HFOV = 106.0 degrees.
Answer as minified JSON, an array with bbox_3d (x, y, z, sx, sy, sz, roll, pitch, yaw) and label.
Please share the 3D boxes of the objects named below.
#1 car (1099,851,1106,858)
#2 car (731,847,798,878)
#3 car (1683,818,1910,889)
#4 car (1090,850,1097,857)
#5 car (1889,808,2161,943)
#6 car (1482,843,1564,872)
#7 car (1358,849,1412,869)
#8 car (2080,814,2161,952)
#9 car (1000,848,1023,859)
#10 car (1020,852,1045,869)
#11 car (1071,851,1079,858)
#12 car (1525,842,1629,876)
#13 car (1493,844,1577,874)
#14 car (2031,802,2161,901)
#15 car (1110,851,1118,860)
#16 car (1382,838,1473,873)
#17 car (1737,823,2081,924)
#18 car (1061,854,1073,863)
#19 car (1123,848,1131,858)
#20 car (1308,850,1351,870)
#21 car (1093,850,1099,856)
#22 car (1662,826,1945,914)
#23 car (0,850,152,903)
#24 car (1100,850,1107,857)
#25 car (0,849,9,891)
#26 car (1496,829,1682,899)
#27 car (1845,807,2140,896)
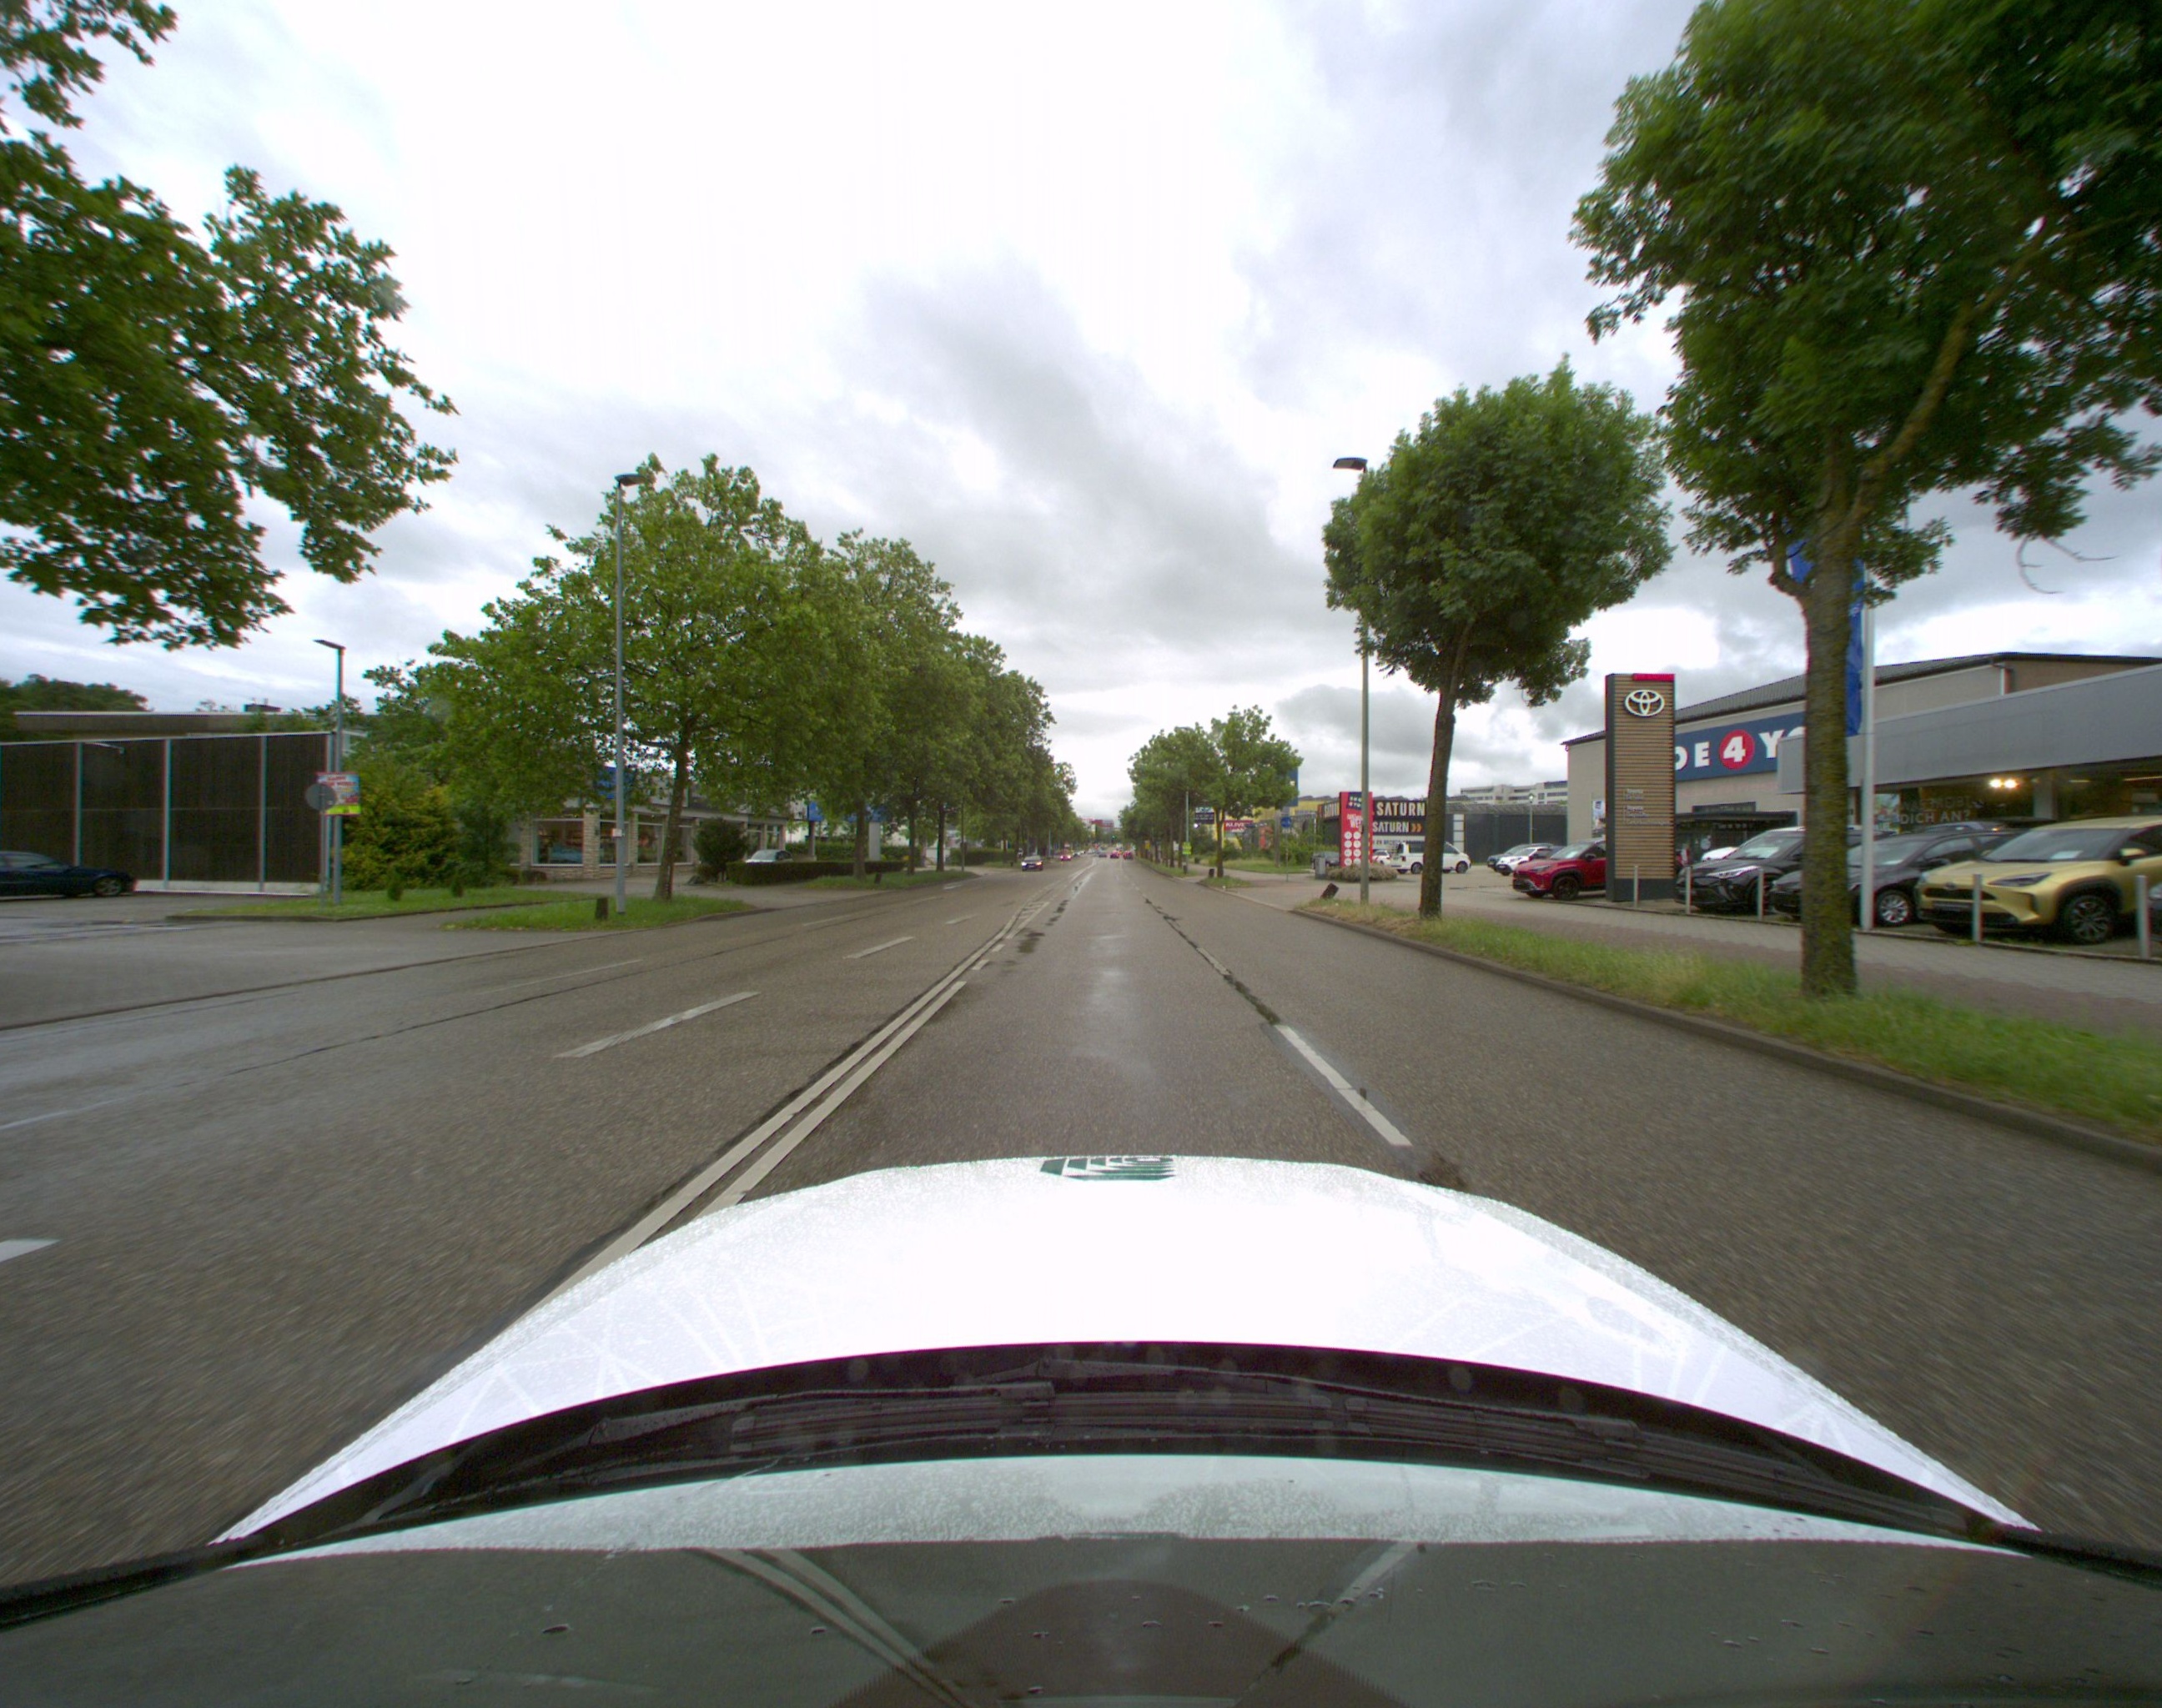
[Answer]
[{"bbox_3d":[5.764,0.161,216.005,1.737,1.701,4.004,-1,0,4],"label":"car"},{"bbox_3d":[-16.374,0.405,42.343,1.817,1.486,3.941,-1,0,1],"label":"car"},{"bbox_3d":[18.593,-0.006,21.344,4.087,1.621,1.884,-2,0,7],"label":"car"},{"bbox_3d":[3.589,-0.162,229.292,1.986,2.013,4.002,-1,0,2],"label":"car"},{"bbox_3d":[14.103,0.239,11.410,3.826,1.566,1.667,-4,0,0],"label":"car"},{"bbox_3d":[27.433,0.189,50.609,4.239,1.729,1.738,-1,0,-7],"label":"car"},{"bbox_3d":[23.823,0.349,64.001,1.878,1.468,4.940,-1,1,-7],"label":"car"},{"bbox_3d":[14.279,0.216,9.047,3.968,1.547,1.713,-4,0,5],"label":"car"},{"bbox_3d":[-12.486,-0.038,146.176,3.971,1.925,1.827,-1,-1,2],"label":"car"},{"bbox_3d":[-4.262,0.568,72.226,1.796,1.463,3.849,-2,0,3],"label":"car"},{"bbox_3d":[-1.627,0.108,225.469,1.696,1.737,4.005,-1,0,5],"label":"car"},{"bbox_3d":[23.571,0.233,38.801,3.980,1.514,1.756,-1,0,-5],"label":"car"},{"bbox_3d":[24.121,0.247,43.314,3.635,1.514,1.672,-1,0,-7],"label":"car"},{"bbox_3d":[18.687,-0.075,13.210,1.866,1.621,4.127,-2,0,4],"label":"car"},{"bbox_3d":[7.770,0.272,193.115,1.737,2.013,4.004,-1,0,4],"label":"car"},{"bbox_3d":[21.276,0.086,50.092,4.817,2.014,1.985,-1,-1,-7],"label":"car"},{"bbox_3d":[13.938,0.311,13.914,3.971,1.538,1.801,-1,0,2],"label":"car"},{"bbox_3d":[-2.440,0.714,142.338,1.719,1.517,3.823,-1,0,2],"label":"car"},{"bbox_3d":[9.739,-0.165,171.498,1.737,2.013,4.004,-1,0,4],"label":"car"},{"bbox_3d":[18.873,0.410,62.031,1.576,1.428,4.256,-1,1,-7],"label":"car"},{"bbox_3d":[4.818,-0.398,257.914,1.821,2.013,4.000,-1,0,0],"label":"car"},{"bbox_3d":[14.242,0.298,16.247,3.971,1.647,1.846,0,0,2],"label":"car"},{"bbox_3d":[-29.725,0.626,22.887,1.851,1.364,4.332,0,1,14],"label":"car"},{"bbox_3d":[6.474,-0.091,230.623,1.883,1.876,4.126,-1,0,2],"label":"car"},{"bbox_3d":[-36.473,0.582,24.719,1.851,1.364,4.333,0,2,14],"label":"car"},{"bbox_3d":[13.577,0.268,21.951,3.825,1.603,1.797,-3,0,3],"label":"car"},{"bbox_3d":[19.298,-0.049,17.576,1.866,1.621,4.127,-2,0,4],"label":"car"}]
